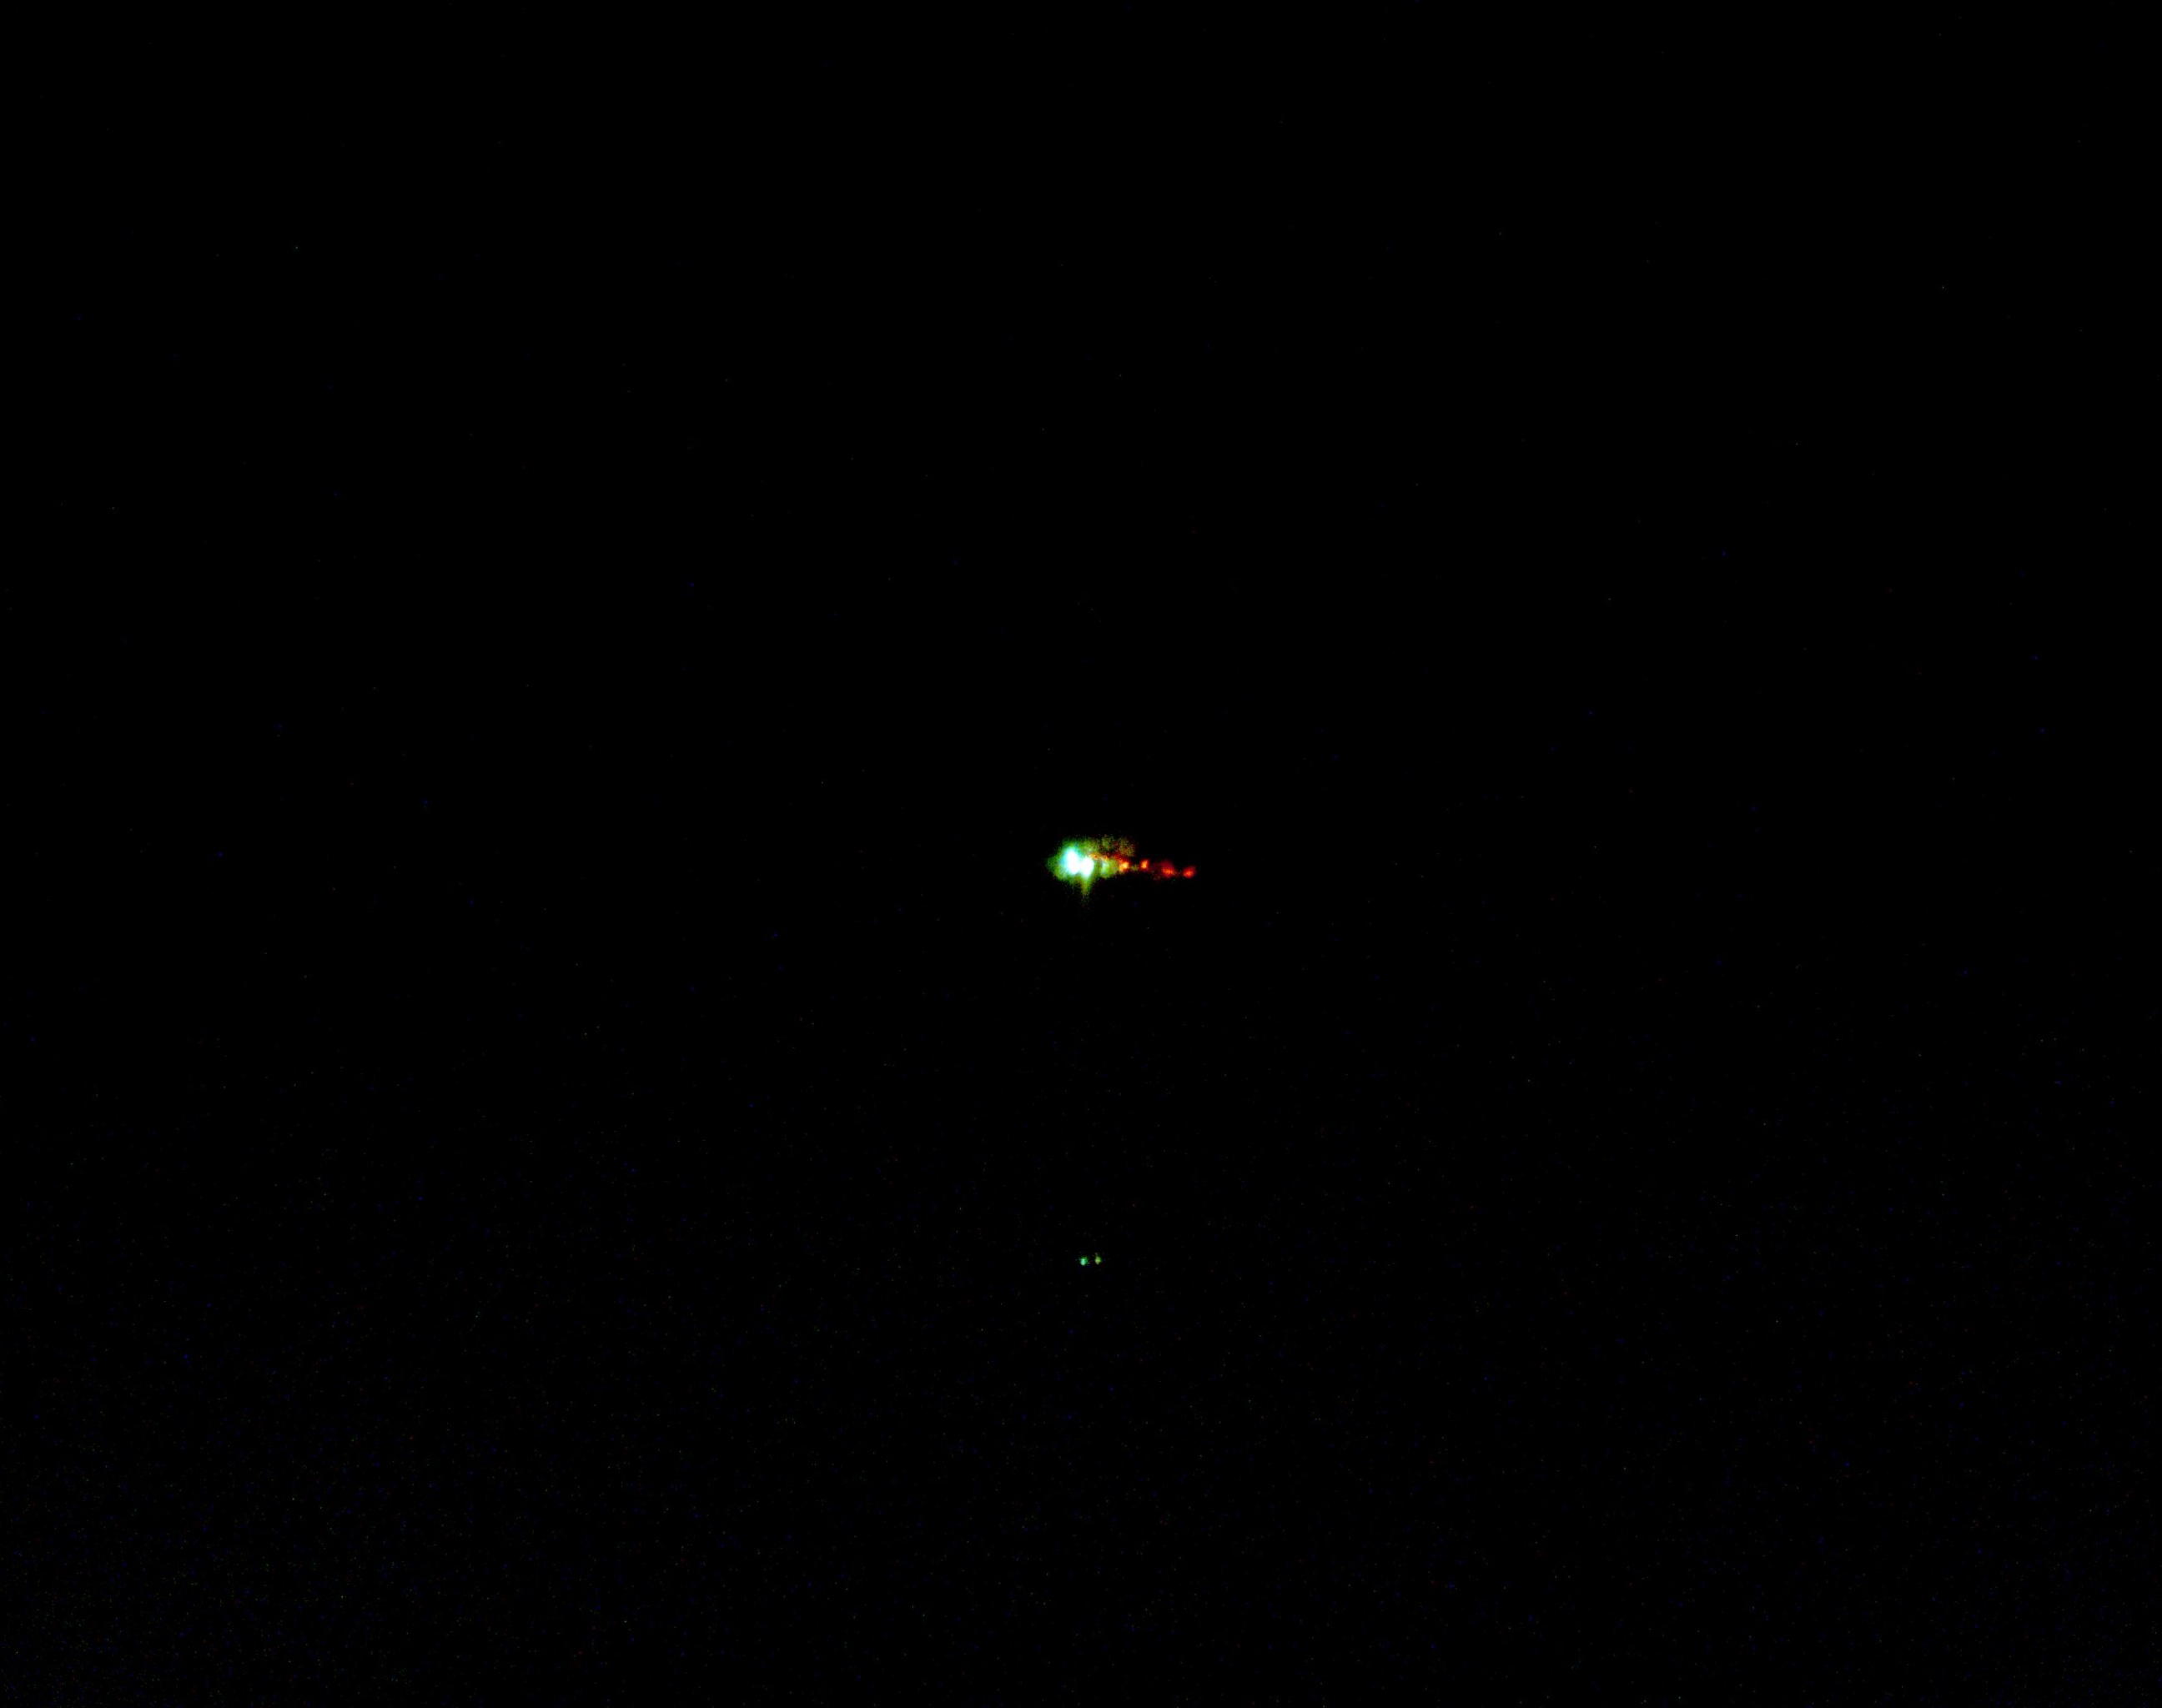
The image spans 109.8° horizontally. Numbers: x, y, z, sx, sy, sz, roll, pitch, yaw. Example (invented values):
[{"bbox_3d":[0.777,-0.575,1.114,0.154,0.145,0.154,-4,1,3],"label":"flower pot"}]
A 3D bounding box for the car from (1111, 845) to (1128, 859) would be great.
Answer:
[{"bbox_3d":[4.820,-0.249,95.531,1.998,1.652,3.999,0,1,0],"label":"car"}]

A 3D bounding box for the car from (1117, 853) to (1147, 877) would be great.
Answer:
[{"bbox_3d":[3.802,0.783,57.315,1.998,1.652,3.999,0,1,0],"label":"car"}]

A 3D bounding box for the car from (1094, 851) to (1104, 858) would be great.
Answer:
[{"bbox_3d":[3.706,0.072,158.357,1.999,1.540,4.000,0,0,0],"label":"car"}]

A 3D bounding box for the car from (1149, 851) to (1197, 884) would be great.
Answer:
[{"bbox_3d":[4.334,0.616,36.330,1.824,1.433,3.999,0,1,0],"label":"car"}]

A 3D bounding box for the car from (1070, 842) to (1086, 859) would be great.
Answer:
[{"bbox_3d":[-0.373,-0.421,93.924,1.998,2.002,3.999,0,1,0],"label":"car"}]
